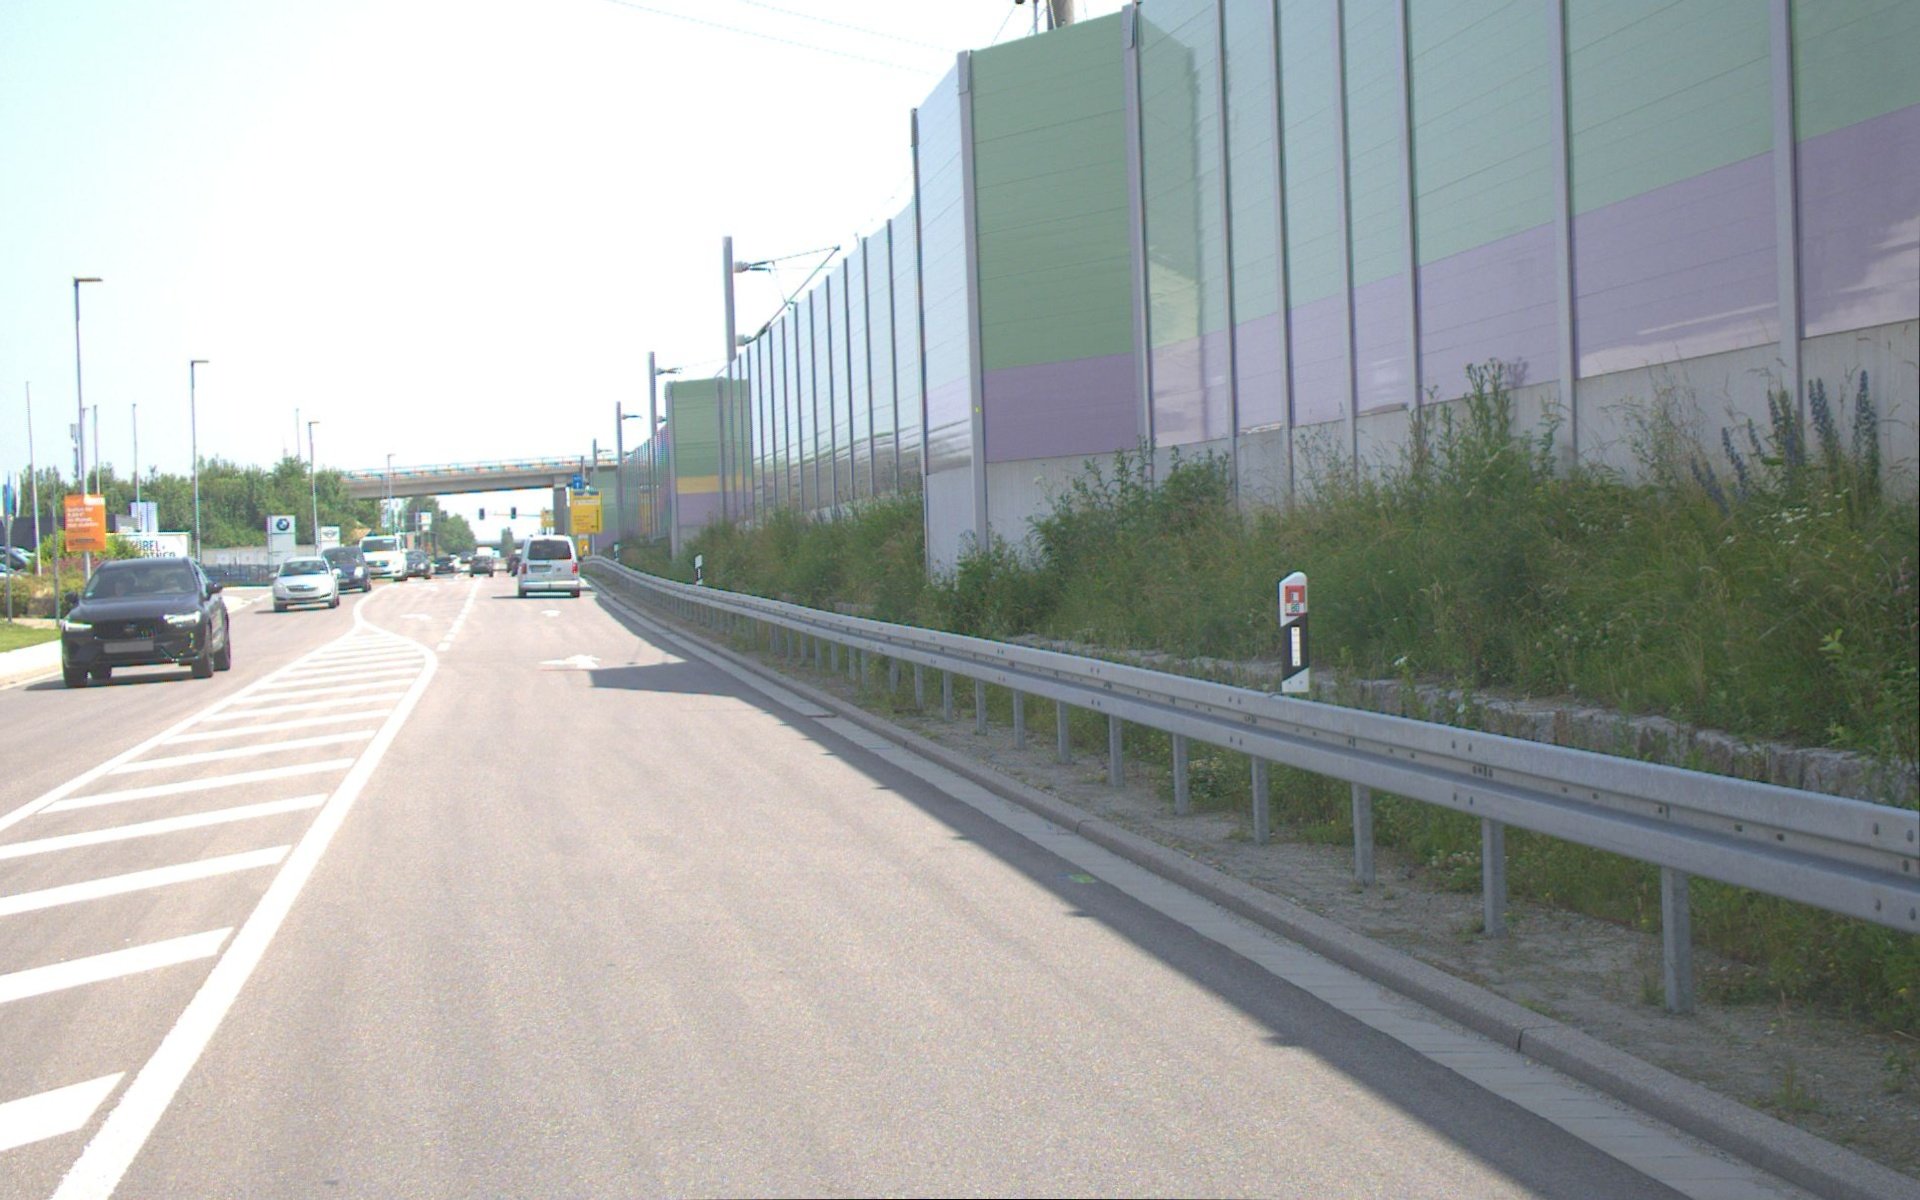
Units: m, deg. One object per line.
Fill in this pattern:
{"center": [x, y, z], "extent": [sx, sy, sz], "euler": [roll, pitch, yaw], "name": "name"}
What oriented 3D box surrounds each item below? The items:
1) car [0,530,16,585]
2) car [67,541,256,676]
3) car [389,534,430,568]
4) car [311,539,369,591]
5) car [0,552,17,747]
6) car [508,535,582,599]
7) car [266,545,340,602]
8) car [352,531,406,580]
{"center": [-27.580, -1.176, 92.120], "extent": [4.223, 1.451, 1.765], "euler": [1, 1, -9], "name": "car"}
{"center": [-10.746, 0.070, 46.555], "extent": [1.881, 1.611, 4.523], "euler": [-4, 1, -7], "name": "car"}
{"center": [-25.870, -2.314, 161.659], "extent": [1.670, 1.418, 4.001], "euler": [-5, 2, -8], "name": "car"}
{"center": [-20.899, -1.192, 115.989], "extent": [1.668, 1.594, 3.974], "euler": [-4, 1, -7], "name": "car"}
{"center": [-8.642, 0.482, 27.046], "extent": [1.741, 1.588, 3.797], "euler": [-4, 1, -7], "name": "car"}
{"center": [-12.063, -0.974, 100.127], "extent": [1.993, 1.751, 4.001], "euler": [-2, 1, -6], "name": "car"}
{"center": [-18.481, -0.753, 96.867], "extent": [1.764, 1.461, 4.260], "euler": [-4, 1, -8], "name": "car"}
{"center": [-23.561, -1.784, 139.315], "extent": [1.993, 1.867, 5.171], "euler": [-3, 1, -10], "name": "car"}
